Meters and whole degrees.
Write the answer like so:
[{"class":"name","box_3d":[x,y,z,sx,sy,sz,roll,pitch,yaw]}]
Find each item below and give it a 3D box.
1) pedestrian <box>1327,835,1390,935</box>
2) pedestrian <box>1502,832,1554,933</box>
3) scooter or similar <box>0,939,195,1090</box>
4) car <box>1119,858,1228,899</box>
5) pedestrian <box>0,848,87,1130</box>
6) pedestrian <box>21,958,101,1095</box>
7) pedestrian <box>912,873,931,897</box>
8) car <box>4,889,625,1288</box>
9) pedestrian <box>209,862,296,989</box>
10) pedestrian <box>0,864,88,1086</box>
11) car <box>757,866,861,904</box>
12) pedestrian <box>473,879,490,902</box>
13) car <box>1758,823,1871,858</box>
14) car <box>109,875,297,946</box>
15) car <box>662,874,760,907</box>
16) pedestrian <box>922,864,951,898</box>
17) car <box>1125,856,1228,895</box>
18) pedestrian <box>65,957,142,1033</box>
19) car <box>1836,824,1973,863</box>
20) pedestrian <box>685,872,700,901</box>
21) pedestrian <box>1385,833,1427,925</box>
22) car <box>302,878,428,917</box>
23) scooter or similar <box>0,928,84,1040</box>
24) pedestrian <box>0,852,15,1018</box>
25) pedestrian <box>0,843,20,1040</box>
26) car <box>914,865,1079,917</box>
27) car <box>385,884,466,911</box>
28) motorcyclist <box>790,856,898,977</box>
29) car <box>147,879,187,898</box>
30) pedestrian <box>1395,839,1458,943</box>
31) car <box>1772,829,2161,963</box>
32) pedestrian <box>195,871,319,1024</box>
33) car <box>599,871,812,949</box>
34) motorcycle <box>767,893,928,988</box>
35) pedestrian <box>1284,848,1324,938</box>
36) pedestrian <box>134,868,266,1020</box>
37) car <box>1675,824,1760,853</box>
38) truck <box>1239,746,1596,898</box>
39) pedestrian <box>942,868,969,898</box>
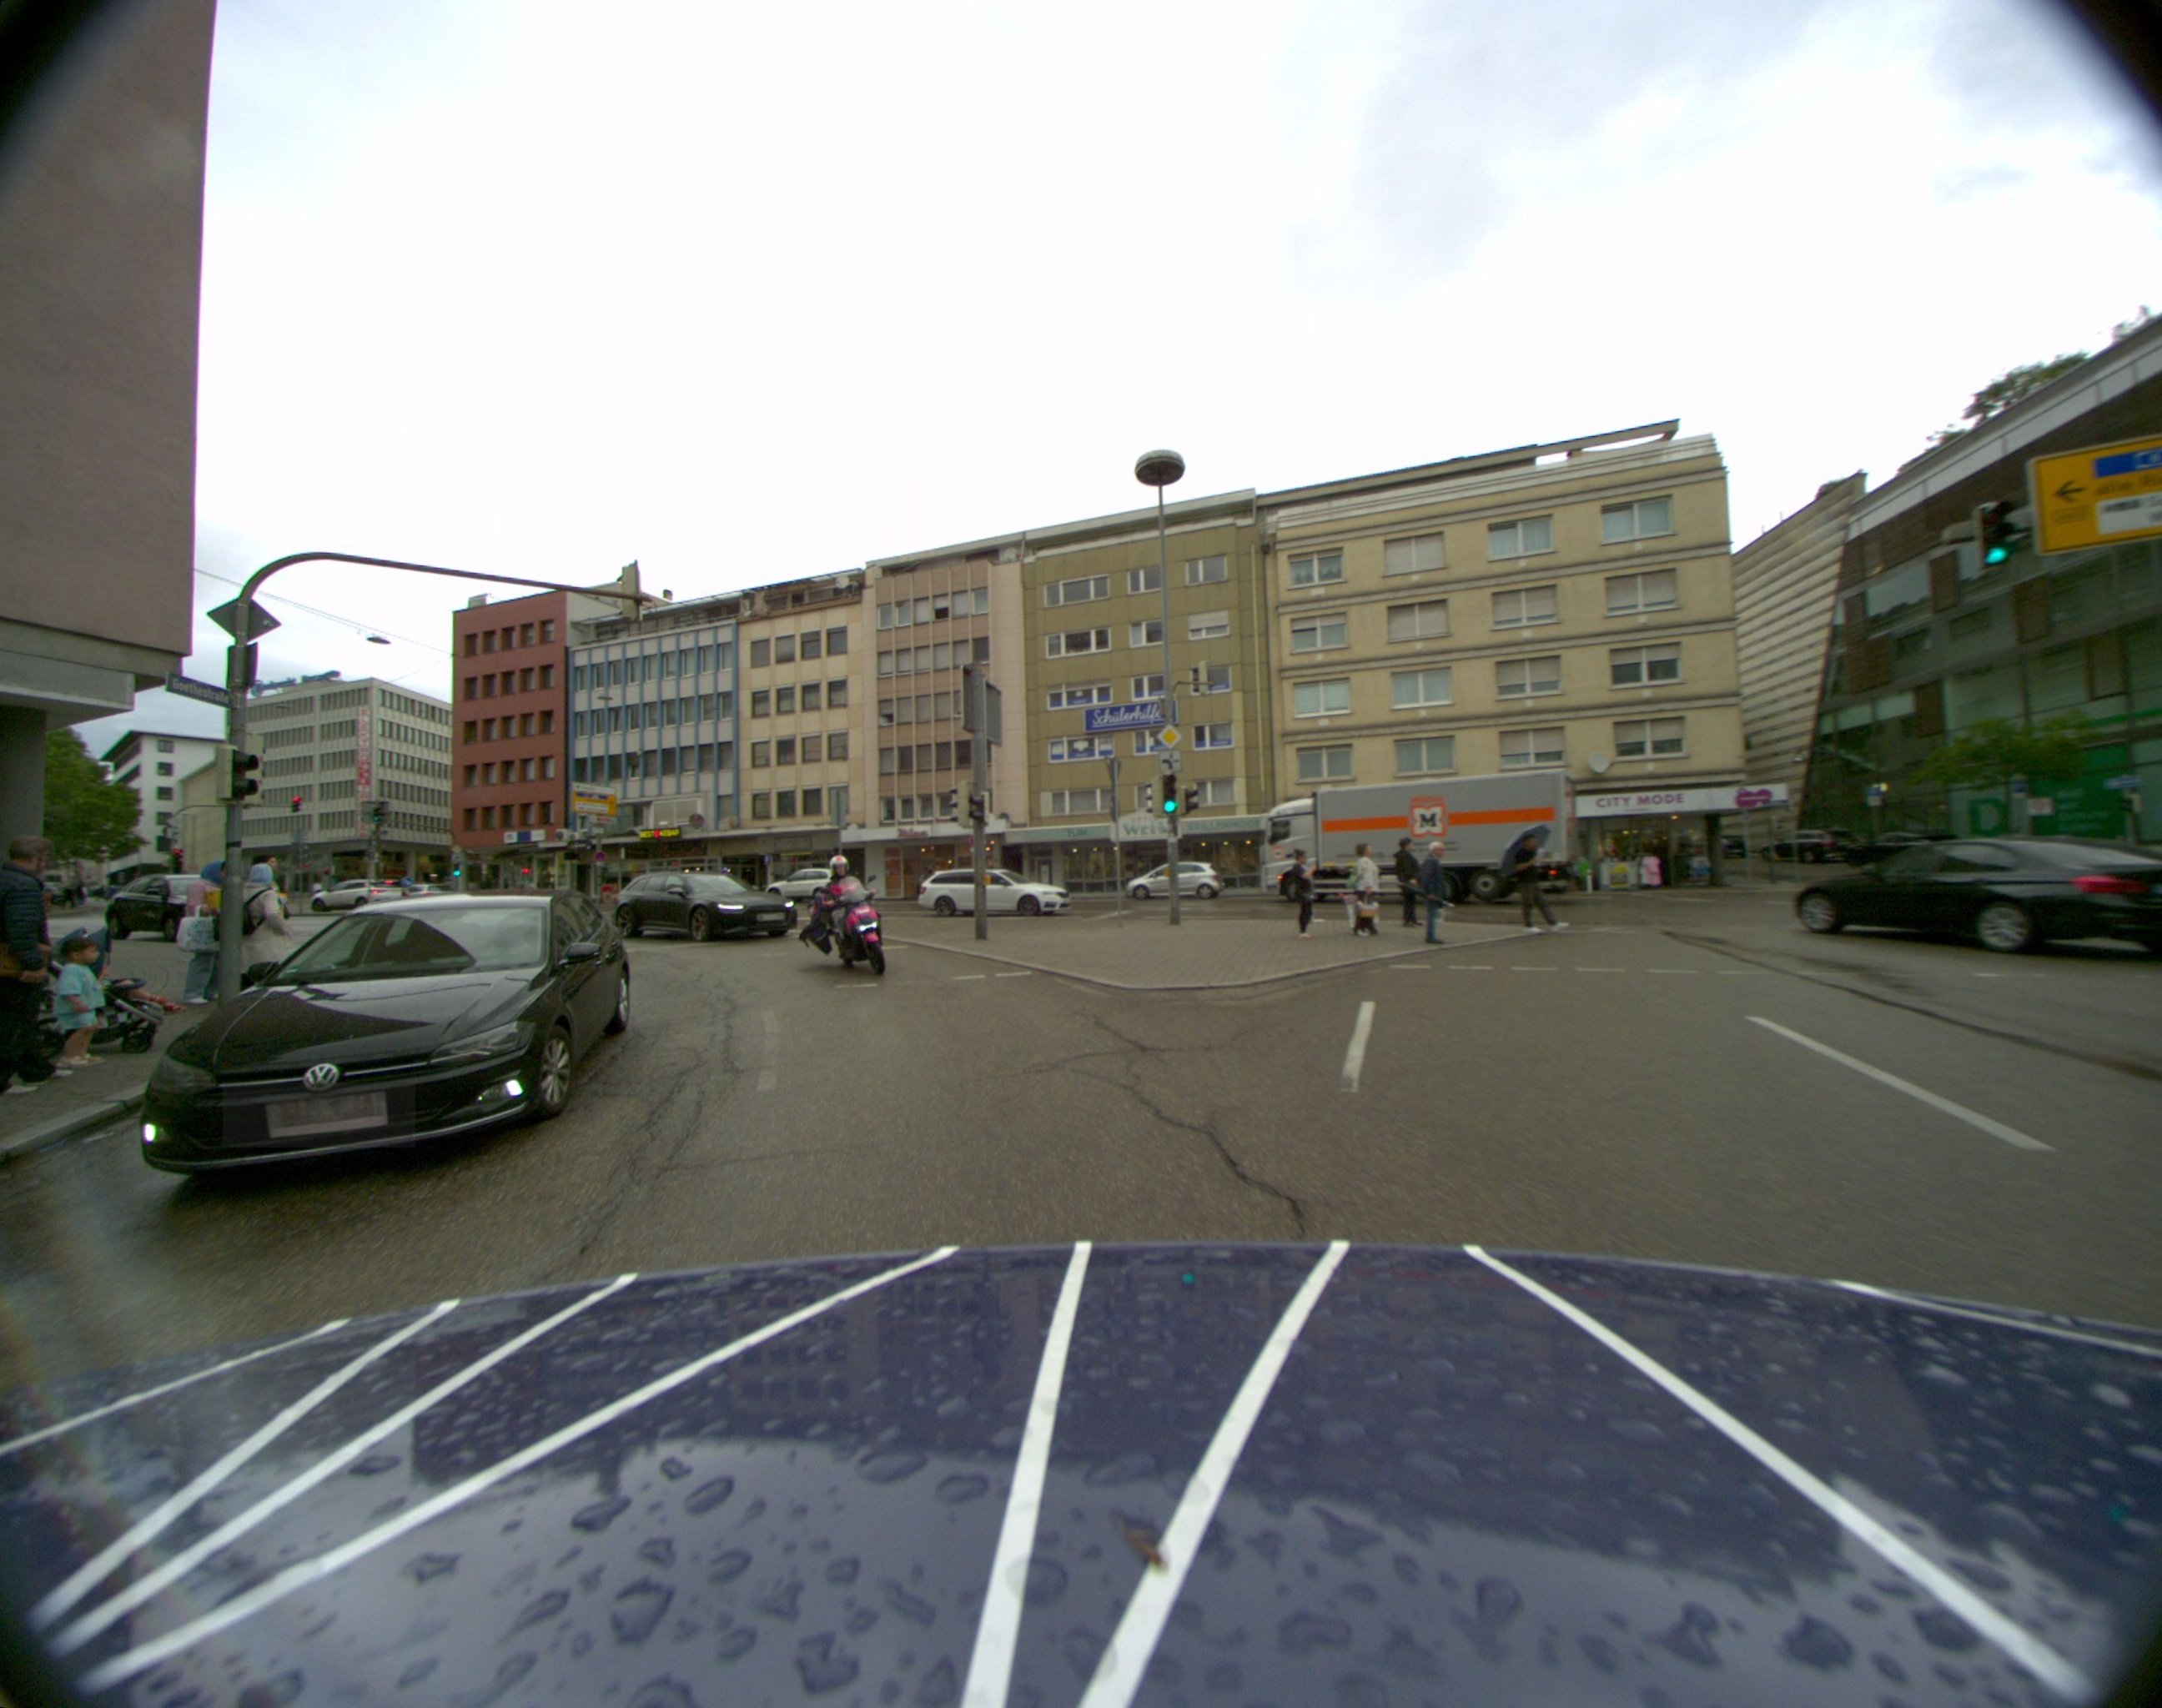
[{"class":"pedestrian","box_3d":[4.839,0.520,13.218,0.913,1.662,0.983,-2,0,24]},{"class":"pedestrian","box_3d":[7.721,0.469,13.159,0.692,1.682,0.760,0,1,23]},{"class":"scooter or similar","box_3d":[-8.364,1.312,6.486,0.653,1.102,0.975,-2,-3,38]},{"class":"car","box_3d":[4.051,1.066,33.297,4.391,1.541,1.856,-3,0,18]},{"class":"pedestrian","box_3d":[-7.506,0.896,5.259,0.784,1.856,0.619,3,-2,35]},{"class":"pedestrian","box_3d":[-8.035,1.336,5.998,0.471,0.993,0.262,-2,-5,42]},{"class":"pedestrian","box_3d":[-8.433,1.642,40.153,0.719,1.242,0.537,-3,0,17]},{"class":"car","box_3d":[-4.601,1.127,5.436,1.745,1.423,3.872,-3,2,-24]},{"class":"pedestrian","box_3d":[-11.489,0.963,10.567,0.629,1.682,0.780,2,-2,-36]},{"class":"pedestrian","box_3d":[-8.757,0.940,6.001,0.836,1.712,1.041,-2,-3,36]},{"class":"car","box_3d":[-14.112,1.620,39.456,4.953,1.816,1.858,-2,-1,20]},{"class":"pedestrian","box_3d":[-47.215,2.850,59.815,0.733,1.737,0.742,-3,0,-10]},{"class":"car","box_3d":[37.255,-0.675,38.765,1.896,1.537,4.383,-4,0,9]},{"class":"car","box_3d":[-21.730,1.383,18.812,4.094,1.538,1.875,-2,0,24]},{"class":"car","box_3d":[-20.214,1.990,41.509,4.870,1.599,1.874,-2,-1,20]},{"class":"pedestrian","box_3d":[-7.548,1.410,39.675,1.084,1.685,0.956,-3,0,17]},{"class":"car","box_3d":[4.172,0.938,33.092,4.193,1.554,1.708,-2,-1,17]},{"class":"pedestrian","box_3d":[-8.333,1.187,6.485,0.457,0.567,0.373,-2,-3,38]},{"class":"car","box_3d":[35.931,-0.452,33.346,1.802,1.537,4.299,-2,0,9]},{"class":"pedestrian","box_3d":[-23.171,1.920,45.362,0.583,1.698,0.447,-3,0,19]},{"class":"pedestrian","box_3d":[6.182,0.464,14.460,0.705,1.701,0.787,-1,1,23]},{"class":"car","box_3d":[-34.183,2.067,36.338,4.422,1.542,2.001,-3,0,8]},{"class":"scooter or similar","box_3d":[-10.795,1.278,7.526,1.046,0.980,0.774,2,-1,18]},{"class":"pedestrian","box_3d":[-11.641,0.826,7.705,0.616,1.712,0.840,1,-1,27]},{"class":"pedestrian","box_3d":[-10.307,0.797,6.722,0.656,1.853,0.840,2,-2,23]},{"class":"car","box_3d":[-2.551,1.114,23.115,4.622,1.407,1.801,-2,-1,18]},{"class":"car","box_3d":[-39.077,2.585,45.286,4.742,1.437,1.794,-2,-1,24]},{"class":"motorcyclist","box_3d":[-3.378,0.853,10.835,1.095,1.595,0.951,-2,0,-44]},{"class":"car","box_3d":[-92.373,3.471,76.776,4.434,1.662,1.938,-3,0,32]},{"class":"pedestrian","box_3d":[5.387,0.558,11.883,0.852,1.559,0.716,-1,1,23]},{"class":"car","box_3d":[12.234,0.469,10.308,1.997,1.417,4.638,-1,-1,9]},{"class":"pedestrian","box_3d":[-9.384,1.035,8.666,0.836,1.627,0.542,2,-3,19]},{"class":"car","box_3d":[-8.336,1.177,16.749,4.722,1.482,2.004,-2,-1,32]},{"class":"motorcycle","box_3d":[-3.385,1.168,10.906,1.317,1.128,2.179,-1,-1,-45]},{"class":"pedestrian","box_3d":[3.827,0.644,13.012,0.559,1.479,0.708,-1,1,23]},{"class":"pedestrian","box_3d":[-9.928,0.986,8.593,0.747,1.625,0.595,3,-1,-30]},{"class":"car","box_3d":[38.365,-0.911,45.935,1.896,1.537,4.383,-4,0,9]},{"class":"truck","box_3d":[10.948,-0.736,26.089,10.742,4.307,2.861,-3,-1,42]},{"class":"pedestrian","box_3d":[-6.347,1.456,38.352,1.063,1.475,0.669,-3,0,17]}]
